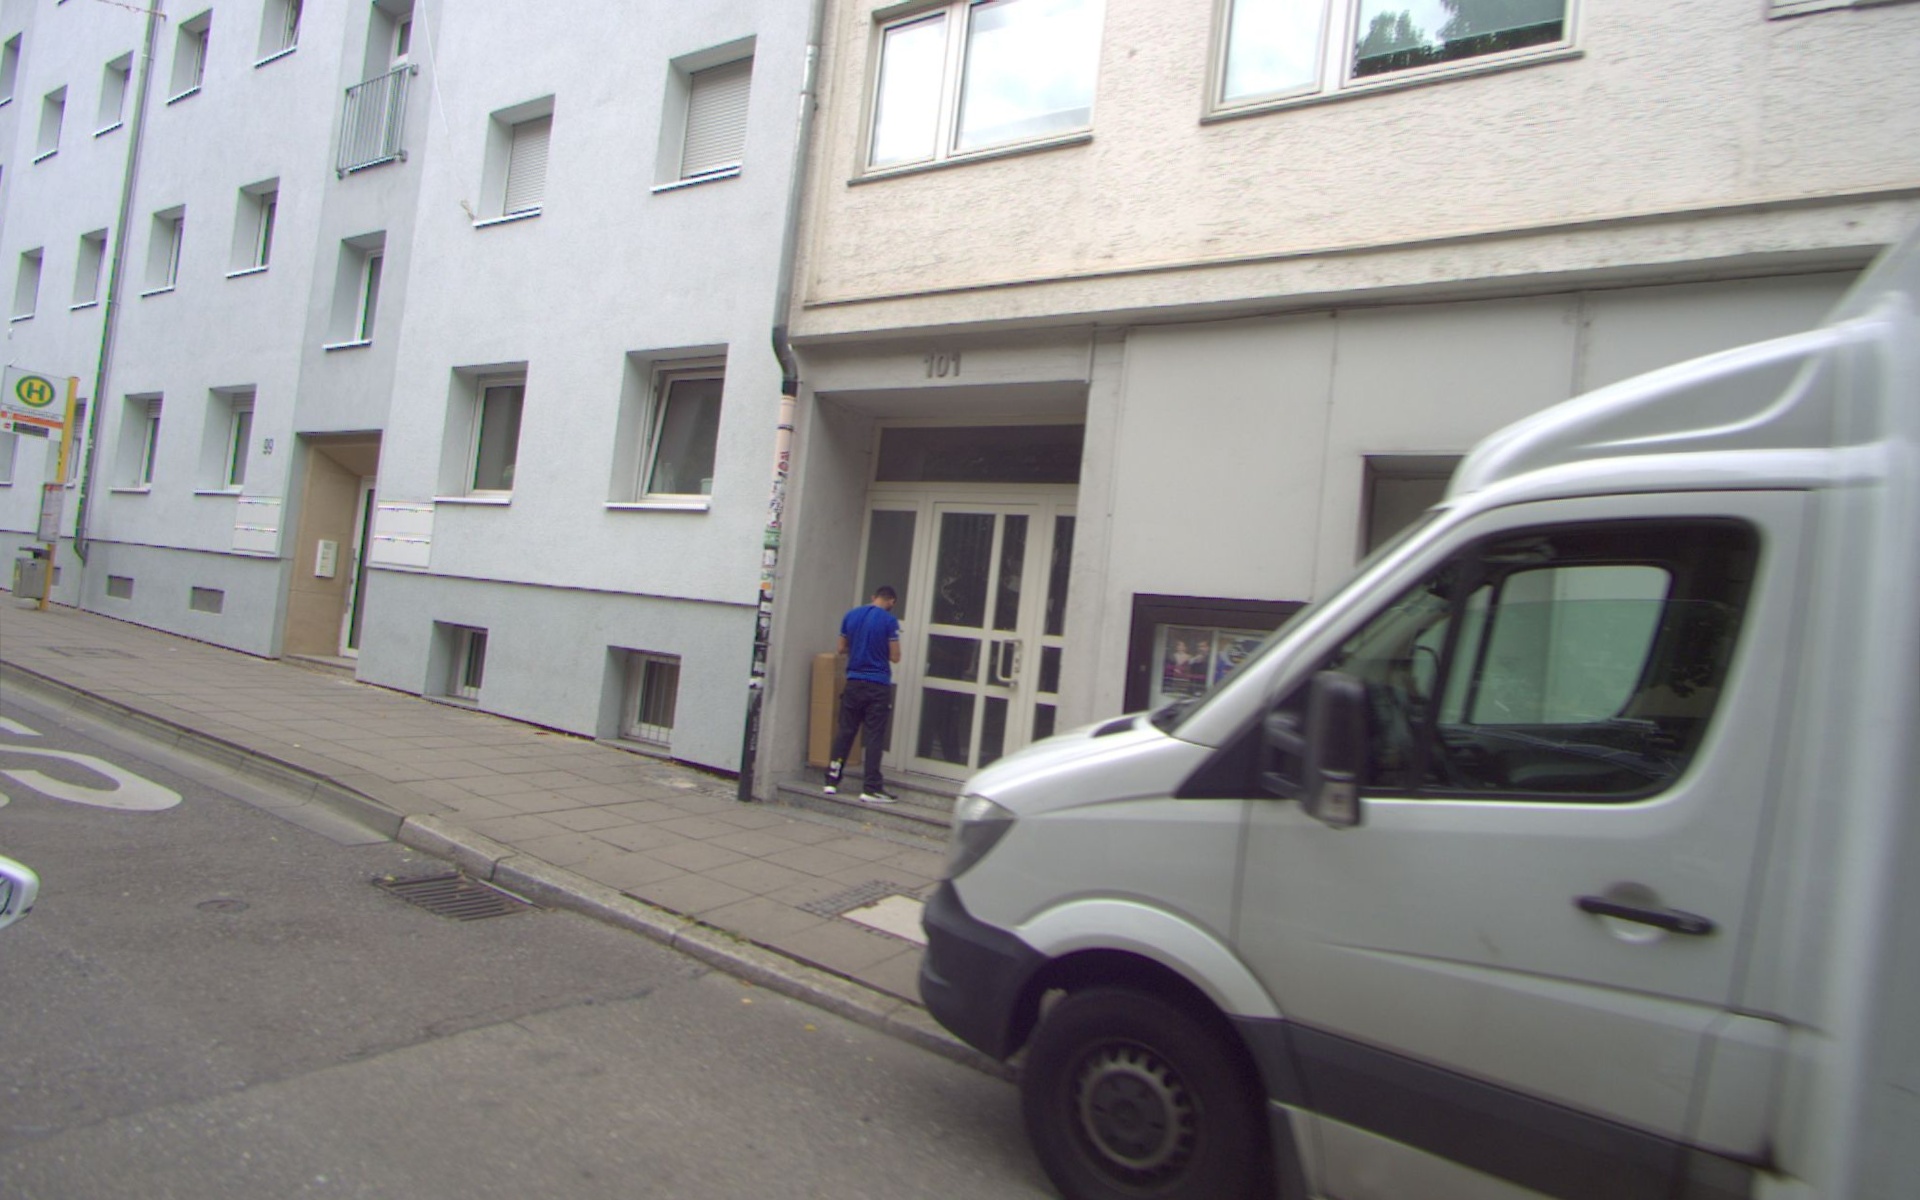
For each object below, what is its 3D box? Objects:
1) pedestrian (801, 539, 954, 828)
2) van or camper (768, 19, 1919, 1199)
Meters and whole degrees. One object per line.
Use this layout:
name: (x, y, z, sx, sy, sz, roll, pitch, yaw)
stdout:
pedestrian: (-0.615, 0.616, 7.616, 0.674, 2.037, 0.635, 7, -1, 31)
van or camper: (3.255, 0.587, 2.252, 7.115, 2.837, 2.484, 6, 0, 30)
